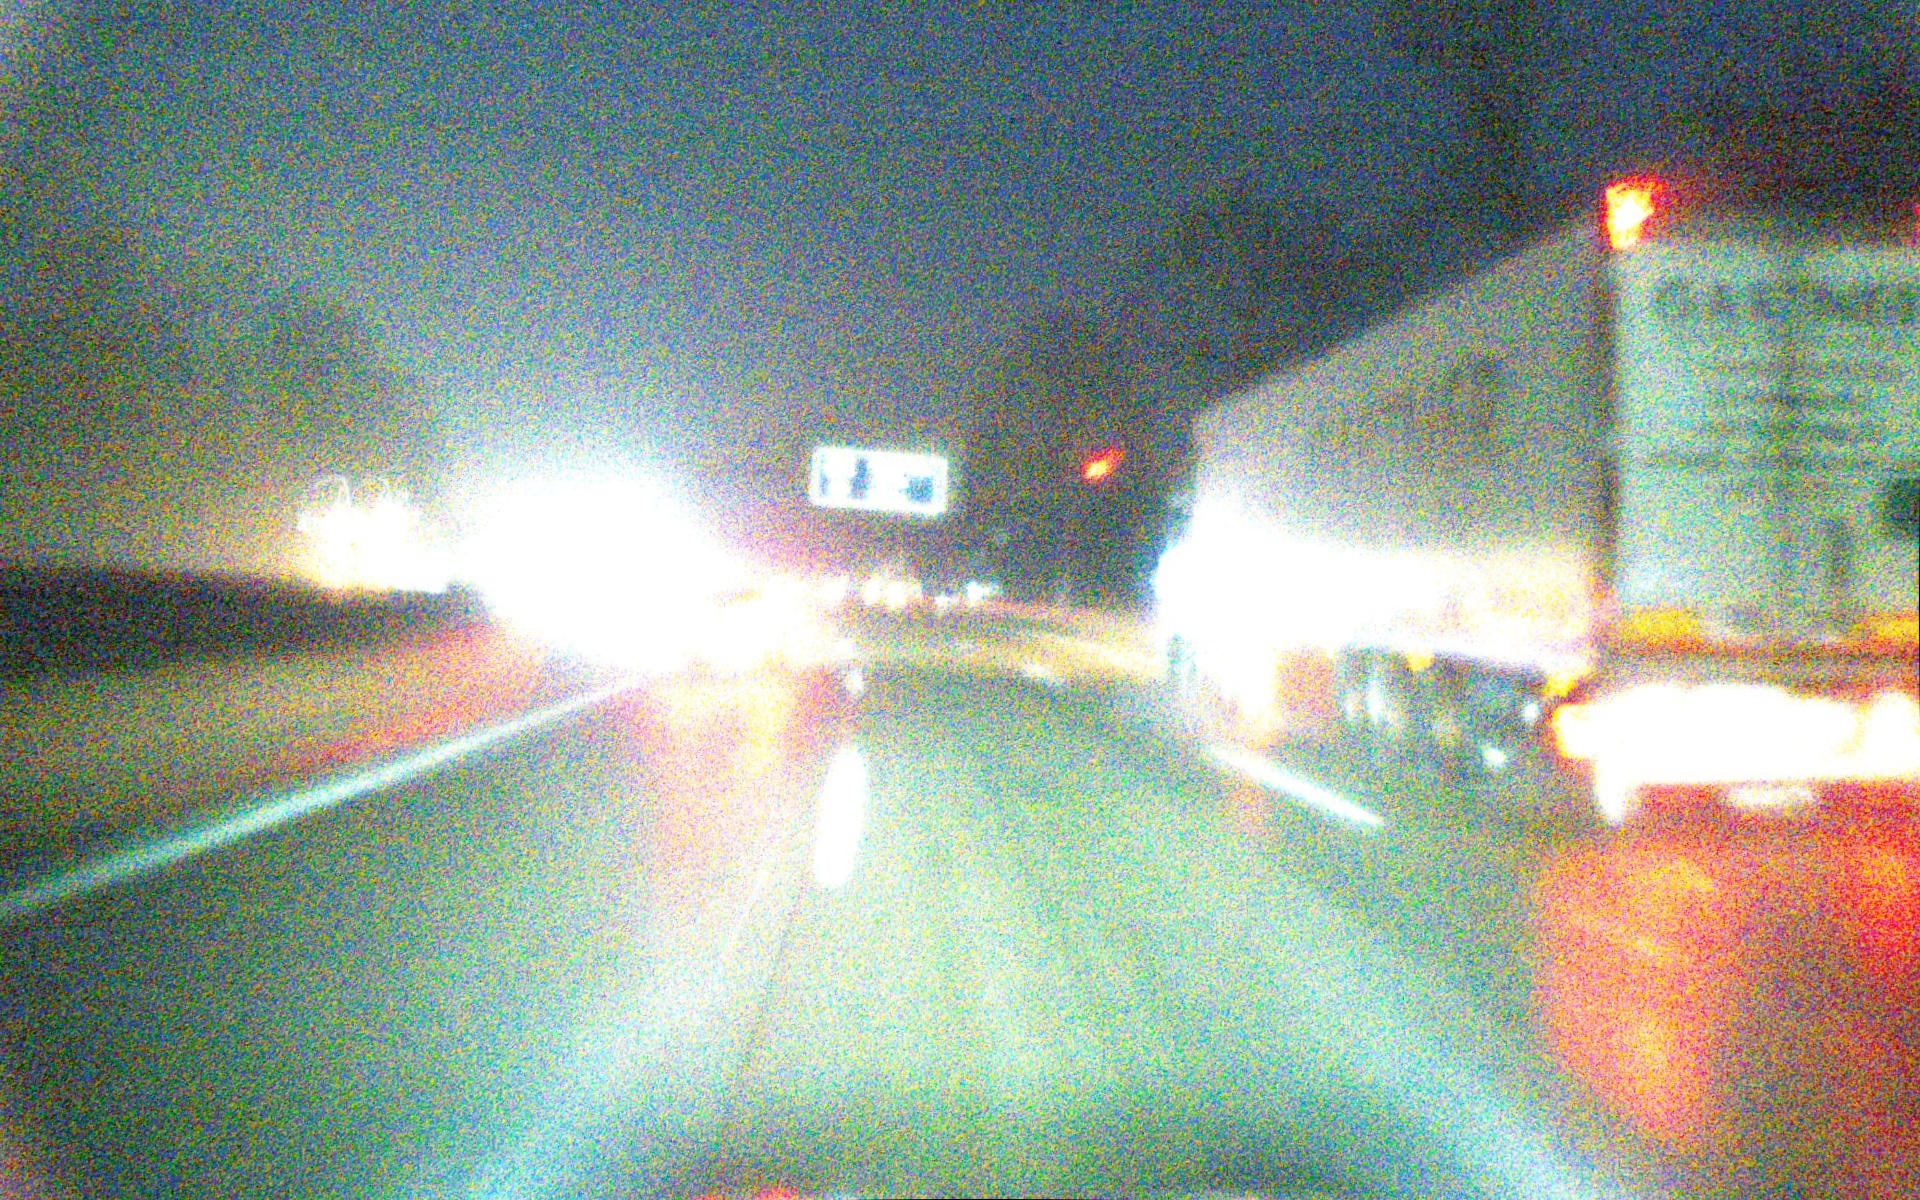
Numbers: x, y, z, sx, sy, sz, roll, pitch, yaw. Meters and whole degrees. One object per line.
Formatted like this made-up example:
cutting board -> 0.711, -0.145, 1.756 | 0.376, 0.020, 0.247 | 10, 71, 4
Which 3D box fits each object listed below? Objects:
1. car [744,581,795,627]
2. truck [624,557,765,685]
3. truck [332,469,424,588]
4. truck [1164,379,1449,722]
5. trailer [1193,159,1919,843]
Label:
car -> -9.560, 0.194, 83.359 | 1.953, 2.048, 4.000 | 5, 1, 0
truck -> -4.850, 0.268, 31.136 | 2.103, 2.113, 6.597 | -1, 2, -5
truck -> -27.348, -3.337, 77.931 | 2.702, 5.185, 5.871 | 4, 1, -9
truck -> 4.710, -0.631, 23.533 | 2.657, 4.315, 5.289 | 0, 0, -4
trailer -> 5.049, -0.624, 17.210 | 2.684, 4.322, 13.363 | 0, 0, -3
